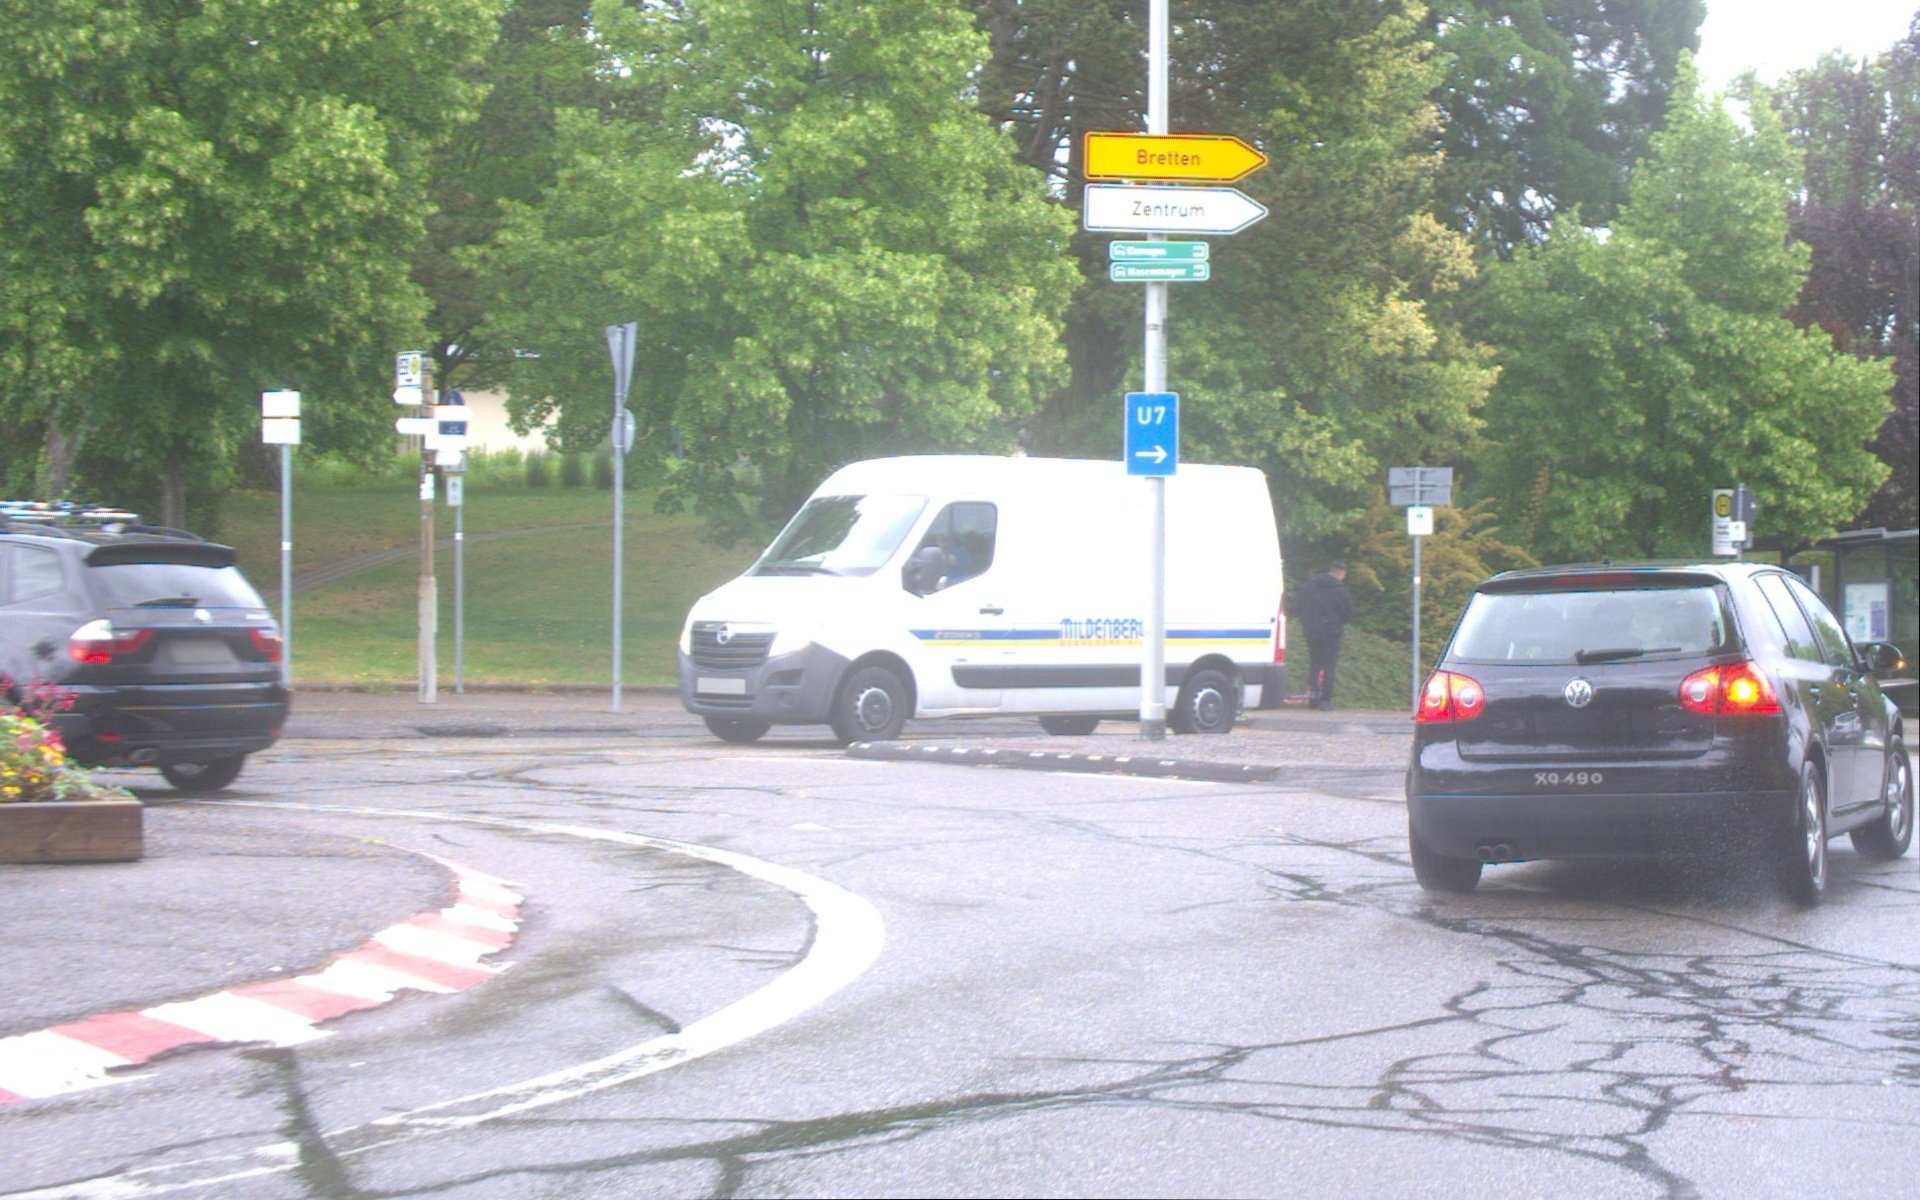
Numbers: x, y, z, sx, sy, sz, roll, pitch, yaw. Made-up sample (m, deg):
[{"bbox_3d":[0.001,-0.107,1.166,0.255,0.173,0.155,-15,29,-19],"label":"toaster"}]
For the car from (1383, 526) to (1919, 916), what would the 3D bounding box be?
[{"bbox_3d":[3.348,0.435,15.869,1.767,1.533,3.996,1,2,22],"label":"car"}]

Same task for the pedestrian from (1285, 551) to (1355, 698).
[{"bbox_3d":[4.293,0.290,40.962,0.738,1.719,0.816,1,0,10],"label":"pedestrian"}]

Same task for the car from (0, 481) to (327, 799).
[{"bbox_3d":[-6.066,0.209,21.358,4.241,1.795,1.767,0,1,37],"label":"car"}]

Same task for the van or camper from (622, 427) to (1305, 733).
[{"bbox_3d":[0.124,-0.141,29.282,5.652,2.370,2.200,1,1,-39],"label":"van or camper"}]
